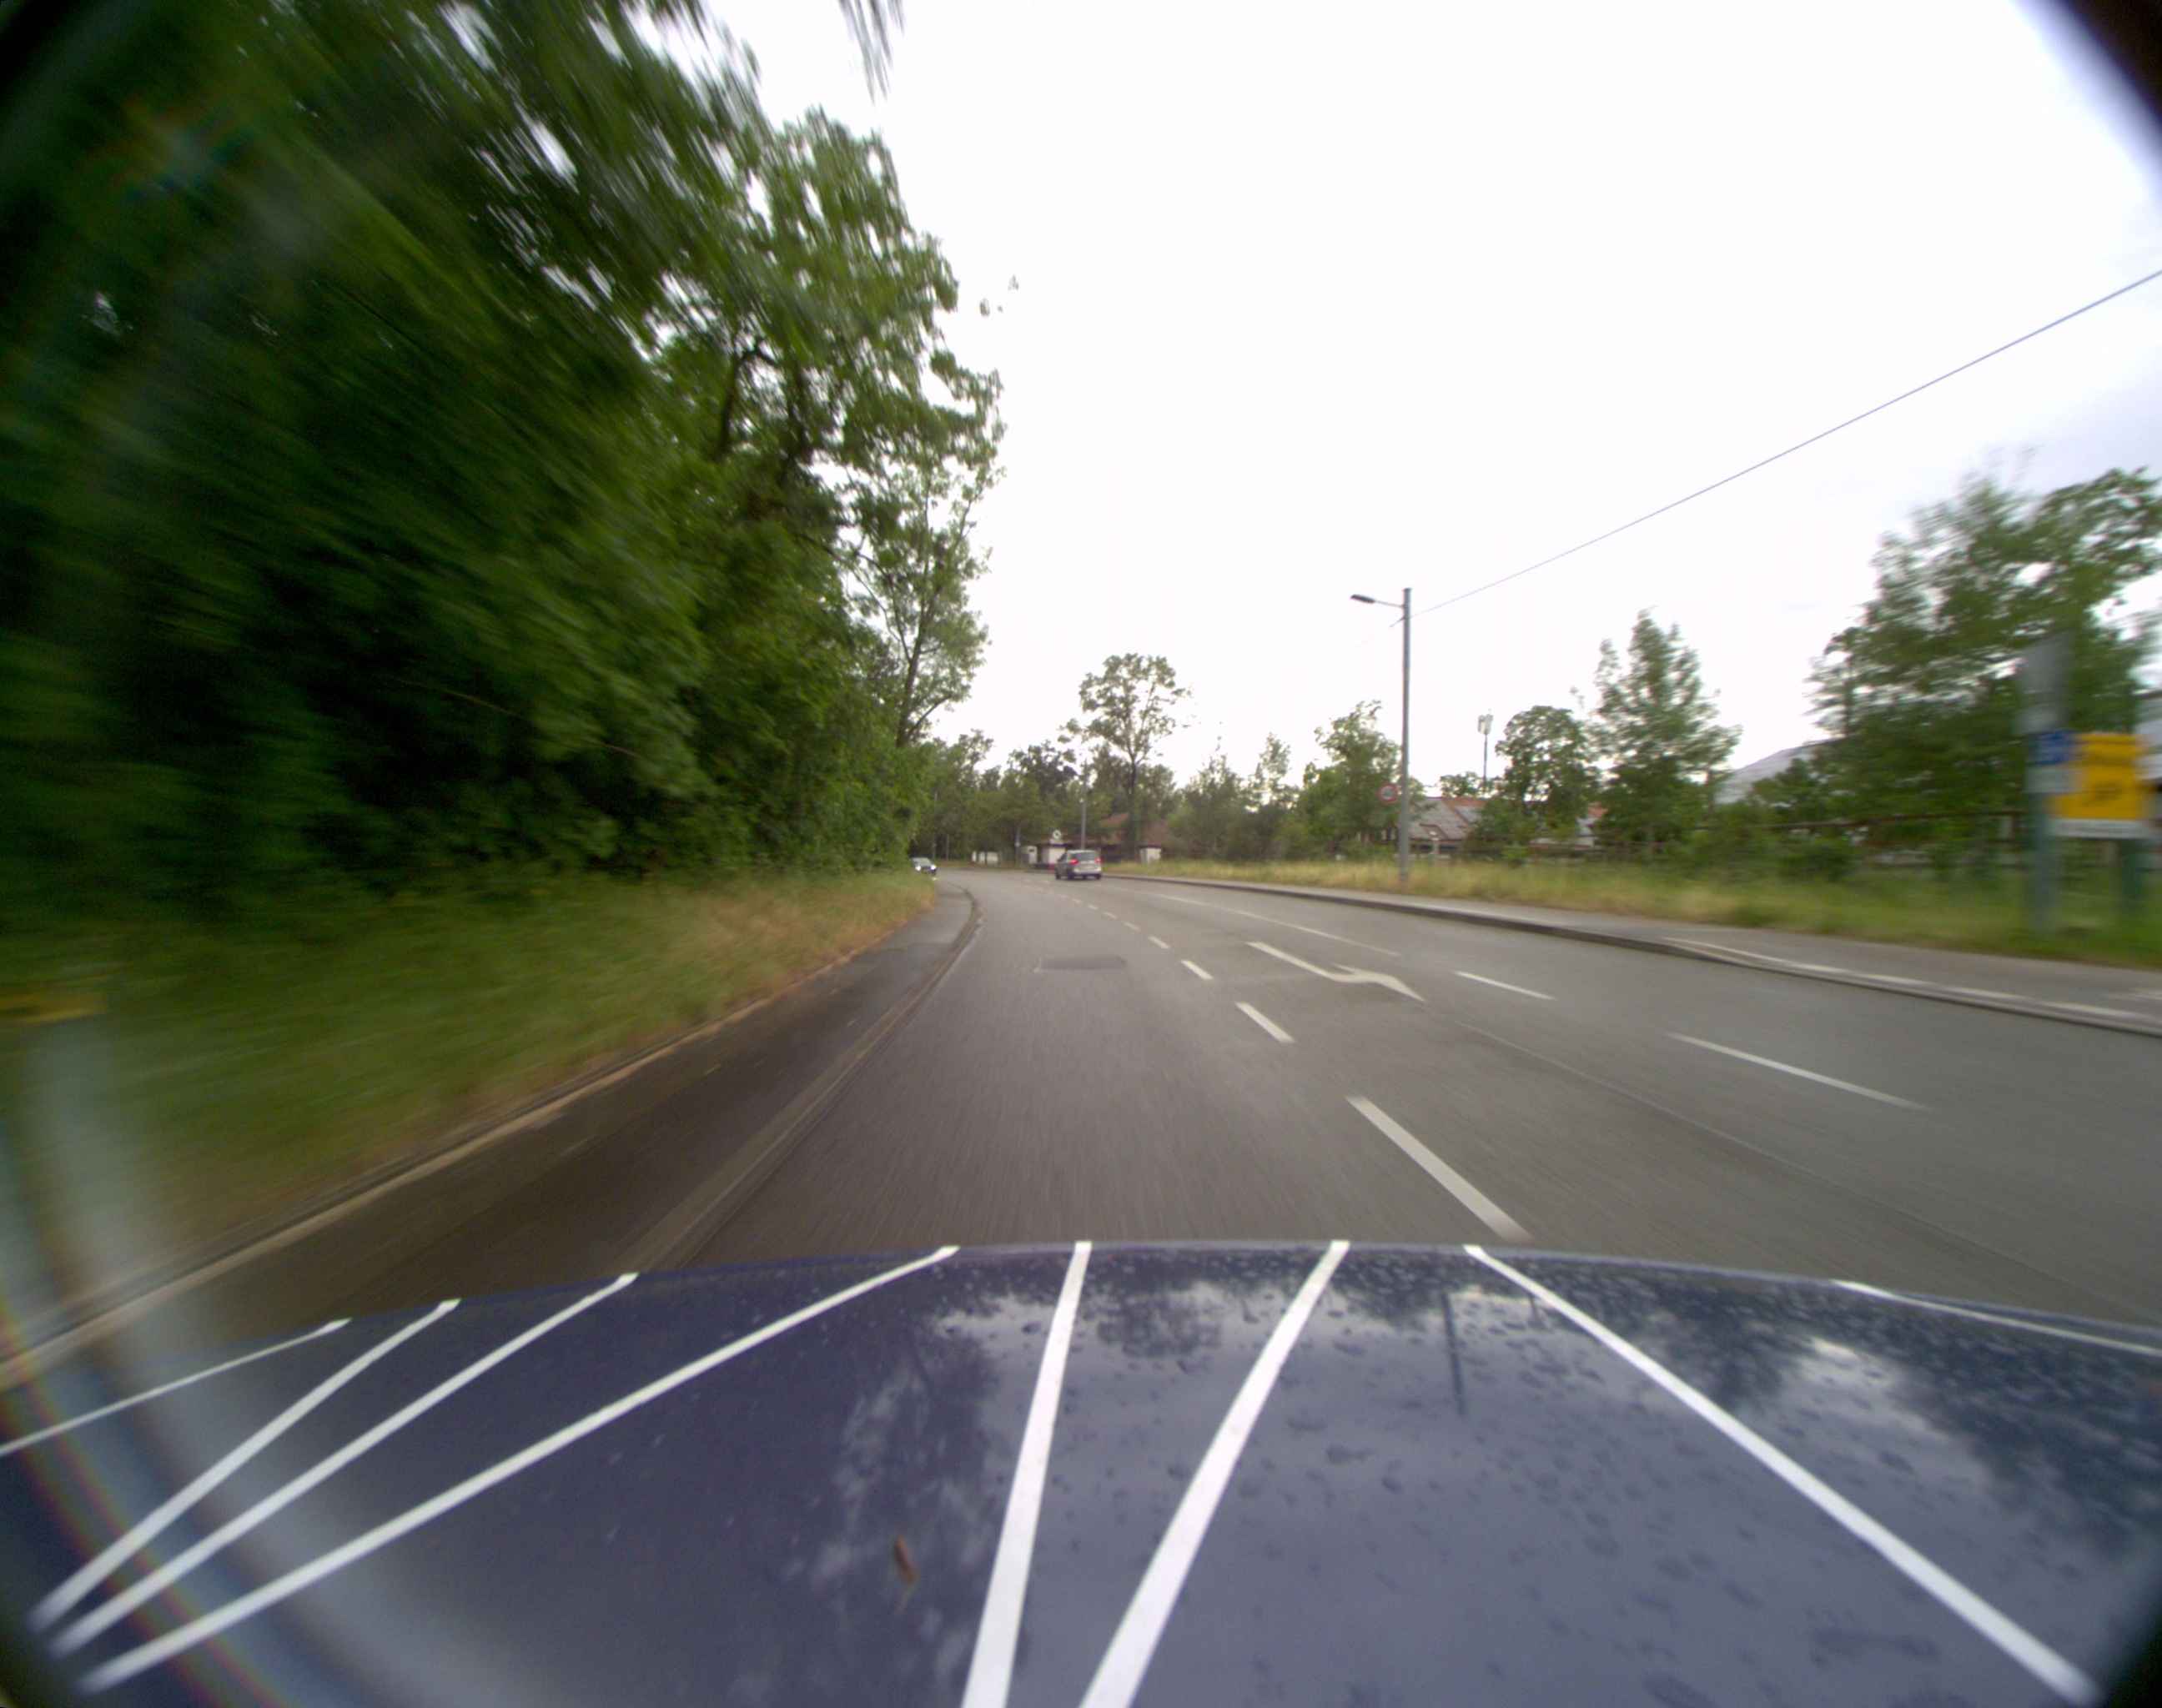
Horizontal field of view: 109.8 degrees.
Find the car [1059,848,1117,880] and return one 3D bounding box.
[{"bbox_3d":[0.312,0.499,41.679,1.766,1.605,4.411,-2,1,-18],"label":"car"}]
